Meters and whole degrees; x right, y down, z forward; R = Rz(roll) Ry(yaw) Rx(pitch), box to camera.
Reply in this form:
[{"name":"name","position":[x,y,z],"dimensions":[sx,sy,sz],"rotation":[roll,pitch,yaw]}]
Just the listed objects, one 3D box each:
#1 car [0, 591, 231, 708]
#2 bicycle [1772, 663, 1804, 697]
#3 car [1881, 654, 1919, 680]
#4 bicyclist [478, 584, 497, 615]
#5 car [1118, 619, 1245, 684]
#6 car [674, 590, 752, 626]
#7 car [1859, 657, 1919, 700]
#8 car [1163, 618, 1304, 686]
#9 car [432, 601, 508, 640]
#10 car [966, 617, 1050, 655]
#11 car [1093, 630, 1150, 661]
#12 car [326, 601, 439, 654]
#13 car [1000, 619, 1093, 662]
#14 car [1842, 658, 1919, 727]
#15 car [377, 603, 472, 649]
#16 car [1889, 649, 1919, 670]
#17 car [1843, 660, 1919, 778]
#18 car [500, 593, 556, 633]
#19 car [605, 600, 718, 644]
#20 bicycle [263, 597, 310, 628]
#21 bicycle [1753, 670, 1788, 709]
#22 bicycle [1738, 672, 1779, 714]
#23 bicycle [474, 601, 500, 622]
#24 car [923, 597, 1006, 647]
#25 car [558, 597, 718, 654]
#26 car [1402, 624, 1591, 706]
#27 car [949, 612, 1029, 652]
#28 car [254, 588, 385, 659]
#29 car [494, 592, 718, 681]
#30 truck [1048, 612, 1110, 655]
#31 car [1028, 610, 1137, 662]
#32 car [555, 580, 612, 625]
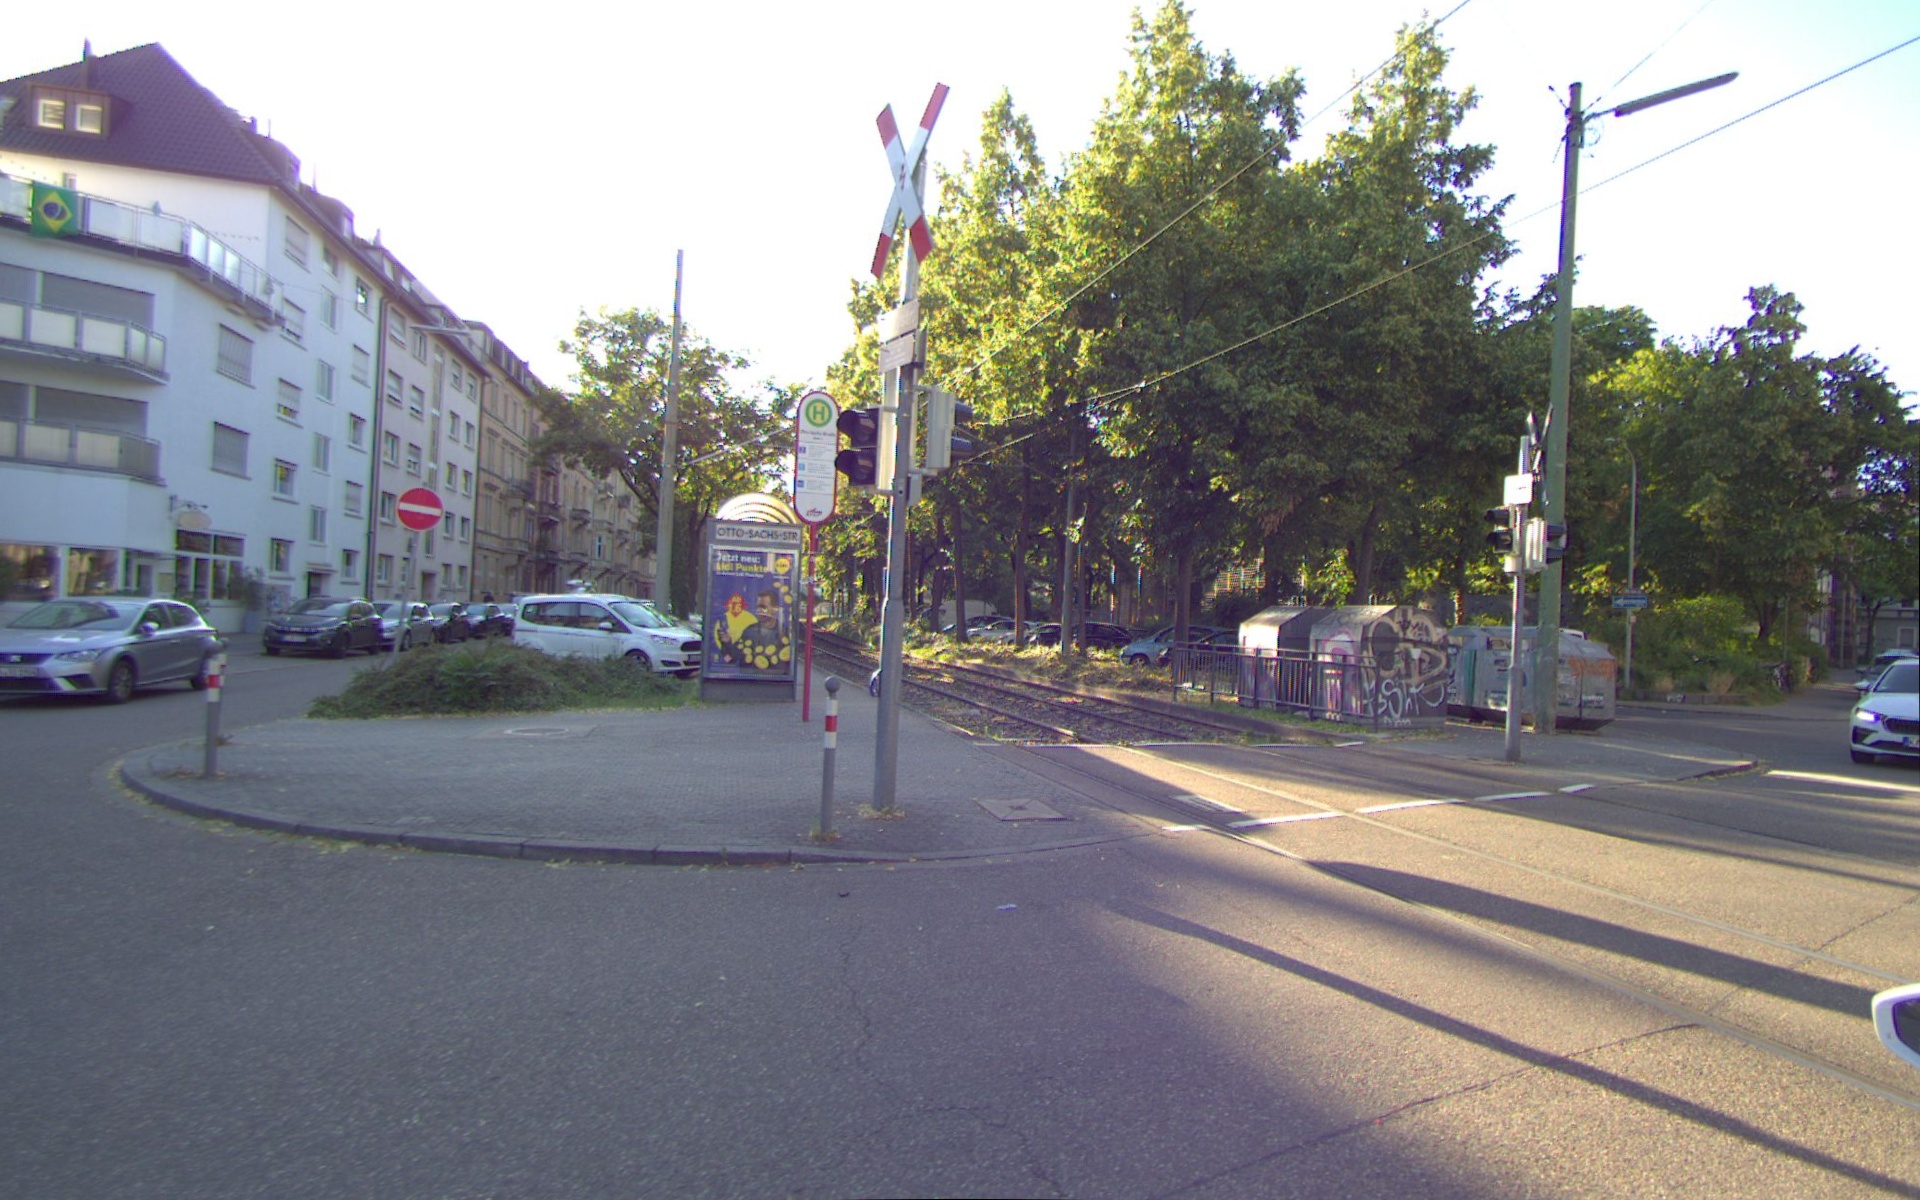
[{"name":"car","position":[-12.460,0.641,14.632],"dimensions":[1.688,1.465,3.986],"rotation":[2,0,-16]},{"name":"bicycle","position":[29.150,2.786,35.343],"dimensions":[0.591,1.116,2.611],"rotation":[2,-1,45]},{"name":"car","position":[64.537,4.578,68.923],"dimensions":[1.807,1.520,3.908],"rotation":[6,2,44]},{"name":"bicyclist","position":[-25.401,-0.015,54.015],"dimensions":[0.701,1.638,0.722],"rotation":[3,-1,-12]},{"name":"car","position":[6.721,1.533,30.627],"dimensions":[3.546,1.583,1.609],"rotation":[5,0,12]},{"name":"car","position":[-18.454,0.608,75.136],"dimensions":[5.163,2.606,2.274],"rotation":[-1,0,16]},{"name":"car","position":[38.897,3.243,41.921],"dimensions":[1.807,1.520,3.908],"rotation":[6,2,44]},{"name":"car","position":[7.494,1.409,27.823],"dimensions":[3.546,1.466,1.609],"rotation":[5,0,11]},{"name":"car","position":[-20.083,0.821,41.306],"dimensions":[1.685,1.465,3.993],"rotation":[2,0,-9]},{"name":"car","position":[2.336,1.733,48.296],"dimensions":[3.752,1.439,1.739],"rotation":[5,-2,7]},{"name":"car","position":[8.396,2.350,52.455],"dimensions":[1.550,1.403,3.589],"rotation":[3,-1,-16]},{"name":"car","position":[-17.723,0.808,31.047],"dimensions":[1.685,1.465,3.993],"rotation":[2,0,-9]},{"name":"car","position":[3.678,1.711,42.510],"dimensions":[3.752,1.409,1.739],"rotation":[5,-2,7]},{"name":"car","position":[26.225,2.556,28.251],"dimensions":[1.807,1.636,4.266],"rotation":[6,2,44]},{"name":"car","position":[-18.618,0.870,35.129],"dimensions":[1.685,1.465,3.993],"rotation":[2,0,-9]},{"name":"car","position":[87.399,5.515,92.689],"dimensions":[1.969,1.705,3.985],"rotation":[4,-2,38]},{"name":"car","position":[13.977,1.643,14.201],"dimensions":[4.031,1.476,1.687],"rotation":[3,-1,-41]},{"name":"car","position":[-22.320,0.655,52.045],"dimensions":[1.685,1.958,3.993],"rotation":[2,0,-9]},{"name":"car","position":[-11.999,0.898,40.387],"dimensions":[4.161,1.673,1.856],"rotation":[-1,0,24]},{"name":"bicycle","position":[-23.494,0.439,35.082],"dimensions":[0.524,1.016,2.171],"rotation":[3,-1,-11]},{"name":"bicycle","position":[24.715,2.704,30.616],"dimensions":[0.590,1.116,2.612],"rotation":[2,-1,43]},{"name":"bicycle","position":[22.823,2.634,28.687],"dimensions":[2.610,1.116,0.591],"rotation":[4,-1,-44]},{"name":"bicycle","position":[-25.431,0.614,54.042],"dimensions":[0.701,1.065,2.342],"rotation":[3,-1,-11]},{"name":"car","position":[0.263,1.321,60.088],"dimensions":[4.411,2.508,1.820],"rotation":[5,-2,19]},{"name":"car","position":[-9.294,0.728,29.072],"dimensions":[4.155,1.528,1.608],"rotation":[-1,0,12]},{"name":"car","position":[15.203,1.786,28.777],"dimensions":[1.921,2.029,4.638],"rotation":[3,-1,-20]},{"name":"car","position":[1.497,1.644,51.042],"dimensions":[3.752,1.607,1.739],"rotation":[5,-2,7]},{"name":"car","position":[-16.861,0.586,26.655],"dimensions":[1.687,1.695,3.988],"rotation":[2,0,-14]},{"name":"car","position":[-7.159,0.732,20.343],"dimensions":[4.157,1.675,1.607],"rotation":[-1,0,19]},{"name":"truck","position":[7.073,1.973,60.191],"dimensions":[2.333,2.383,4.374],"rotation":[3,-1,-12]},{"name":"car","position":[4.500,1.333,36.871],"dimensions":[3.752,1.516,1.739],"rotation":[5,-2,7]},{"name":"car","position":[-25.643,0.180,68.638],"dimensions":[2.514,2.925,5.472],"rotation":[2,0,-9]}]
